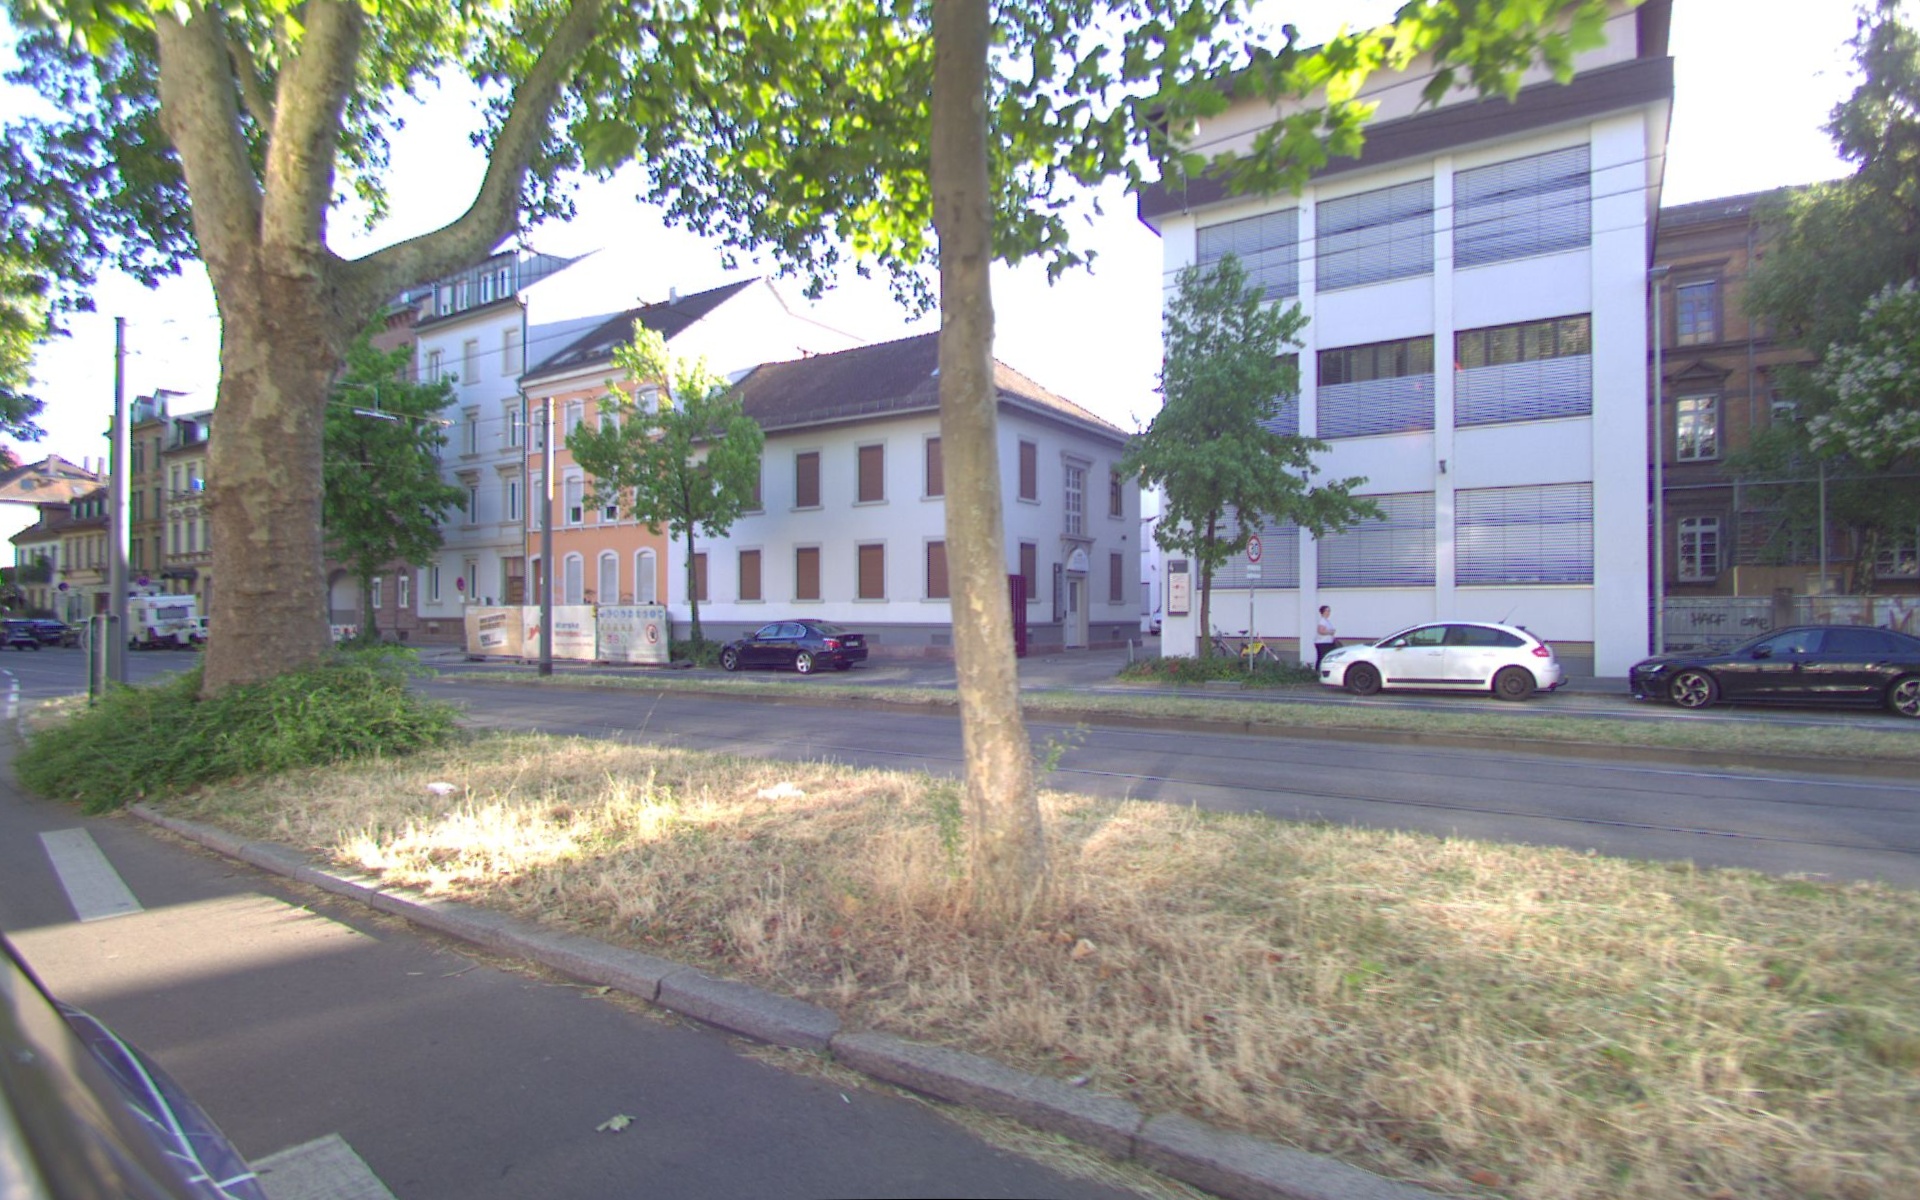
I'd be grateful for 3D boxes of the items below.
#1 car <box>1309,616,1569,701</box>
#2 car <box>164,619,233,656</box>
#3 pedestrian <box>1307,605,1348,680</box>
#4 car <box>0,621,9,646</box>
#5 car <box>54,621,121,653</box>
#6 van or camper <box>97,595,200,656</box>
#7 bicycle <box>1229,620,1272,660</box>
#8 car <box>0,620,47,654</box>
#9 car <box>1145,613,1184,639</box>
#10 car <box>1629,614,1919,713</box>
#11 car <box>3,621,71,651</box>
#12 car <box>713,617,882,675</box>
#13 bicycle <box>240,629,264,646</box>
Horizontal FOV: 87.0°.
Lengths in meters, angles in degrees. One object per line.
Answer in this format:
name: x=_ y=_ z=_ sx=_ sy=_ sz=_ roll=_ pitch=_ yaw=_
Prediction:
car: x=9.303 y=1.072 z=19.763 sx=4.392 sy=1.482 sz=1.978 roll=-1 pitch=-2 yaw=33
car: x=-38.645 y=1.873 z=51.344 sx=3.359 sy=1.718 sz=1.619 roll=-1 pitch=1 yaw=31
pedestrian: x=8.146 y=0.927 z=22.416 sx=0.729 sy=1.633 sz=0.630 roll=-1 pitch=0 yaw=32
car: x=-68.373 y=2.386 z=70.925 sx=3.617 sy=1.759 sz=1.710 roll=-1 pitch=2 yaw=35
car: x=-51.726 y=2.175 z=59.981 sx=4.430 sy=1.718 sz=1.796 roll=-1 pitch=2 yaw=33
van or camper: x=-43.888 y=1.345 z=54.665 sx=7.235 sy=2.969 sz=2.399 roll=-1 pitch=2 yaw=36
bicycle: x=7.478 y=1.022 z=26.076 sx=1.015 sy=1.010 sz=0.300 roll=-1 pitch=-2 yaw=33
car: x=-49.843 y=1.915 z=52.960 sx=4.296 sy=1.702 sz=1.978 roll=-1 pitch=-2 yaw=33
car: x=10.768 y=1.387 z=53.126 sx=1.474 sy=1.307 sz=3.279 roll=-1 pitch=-2 yaw=21
car: x=13.867 y=0.991 z=16.701 sx=4.635 sy=1.487 sz=1.978 roll=-1 pitch=-2 yaw=33
car: x=-58.426 y=2.285 z=64.049 sx=4.736 sy=1.715 sz=1.978 roll=-1 pitch=2 yaw=33
car: x=-4.689 y=1.269 z=28.905 sx=4.711 sy=1.525 sz=1.977 roll=-1 pitch=-2 yaw=33
bicycle: x=-39.750 y=2.109 z=56.790 sx=1.788 sy=0.931 sz=0.573 roll=-1 pitch=-1 yaw=36
